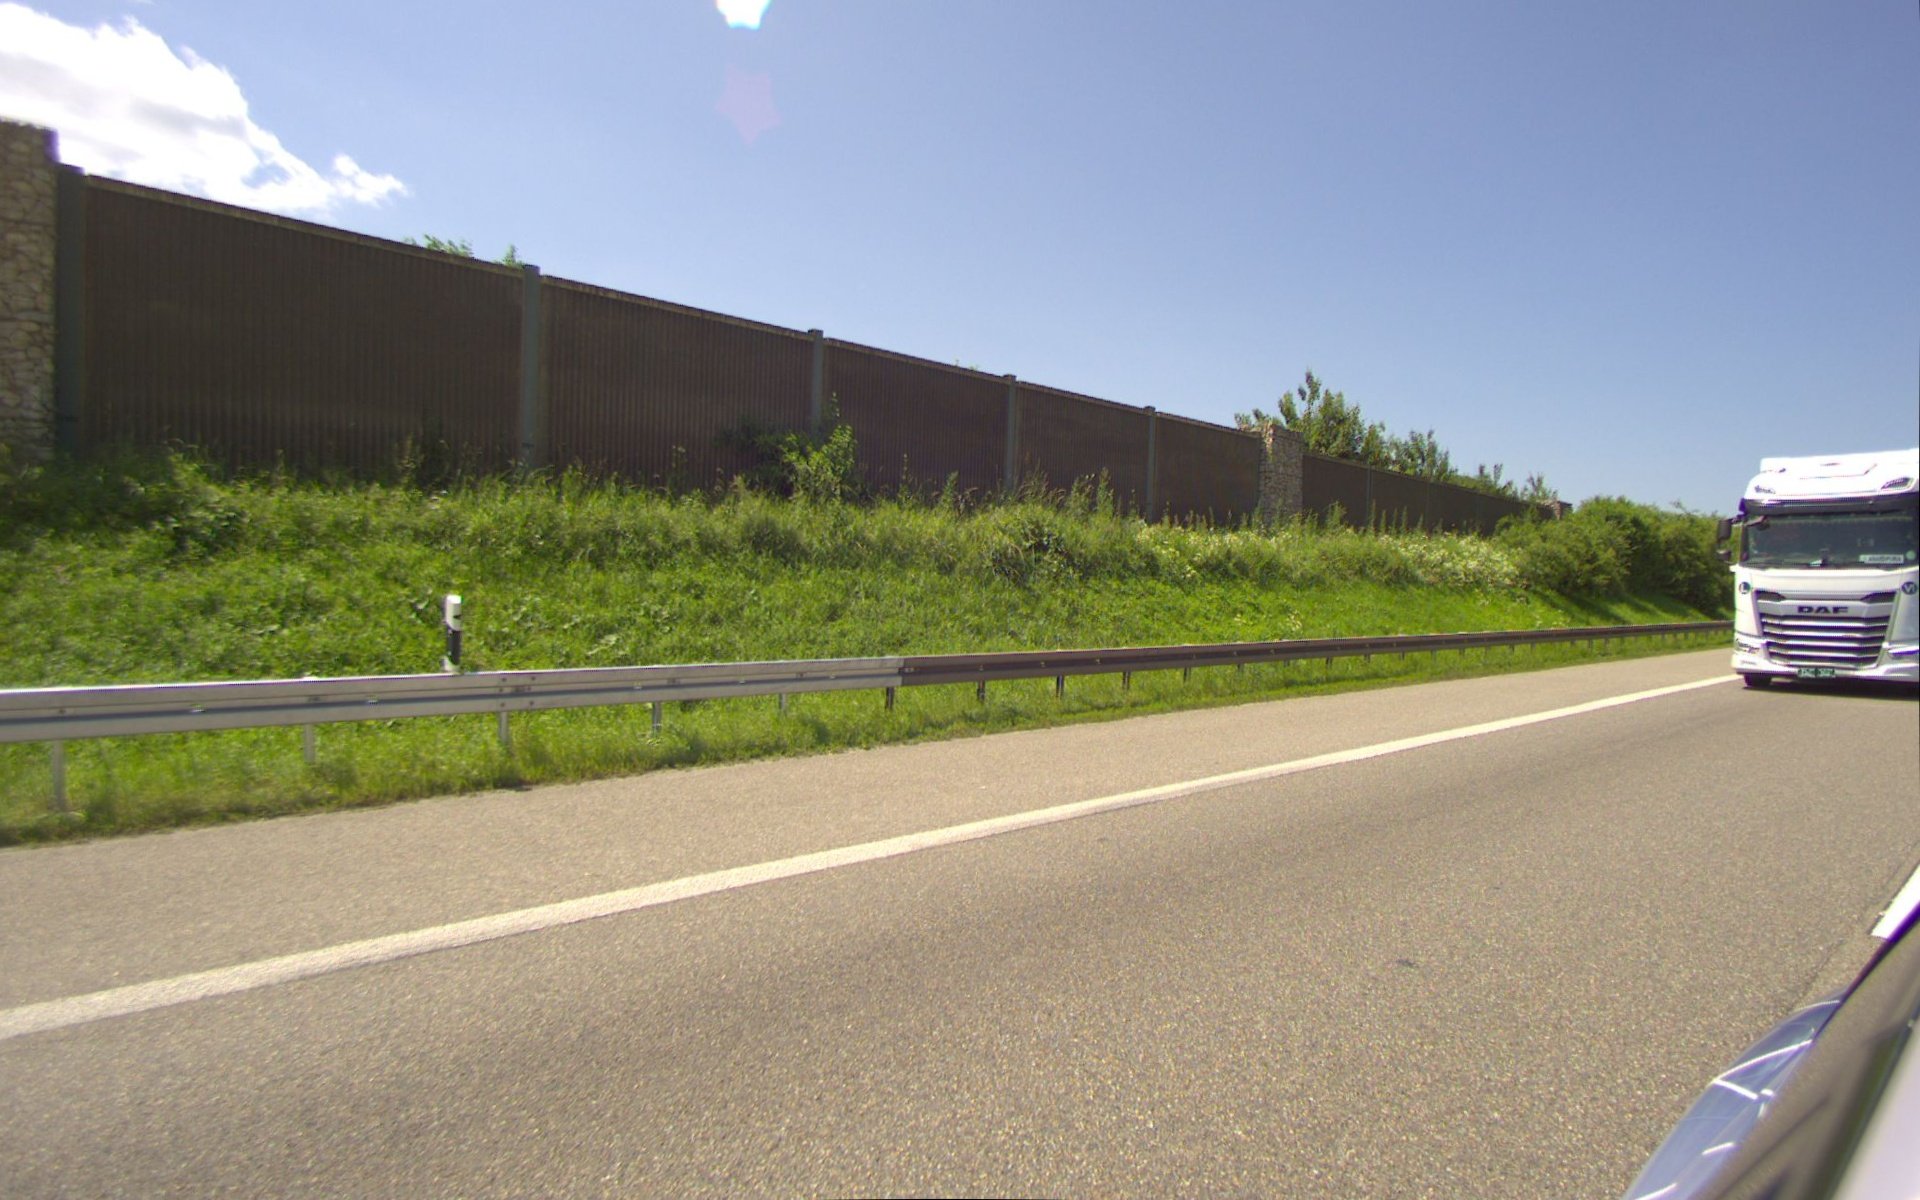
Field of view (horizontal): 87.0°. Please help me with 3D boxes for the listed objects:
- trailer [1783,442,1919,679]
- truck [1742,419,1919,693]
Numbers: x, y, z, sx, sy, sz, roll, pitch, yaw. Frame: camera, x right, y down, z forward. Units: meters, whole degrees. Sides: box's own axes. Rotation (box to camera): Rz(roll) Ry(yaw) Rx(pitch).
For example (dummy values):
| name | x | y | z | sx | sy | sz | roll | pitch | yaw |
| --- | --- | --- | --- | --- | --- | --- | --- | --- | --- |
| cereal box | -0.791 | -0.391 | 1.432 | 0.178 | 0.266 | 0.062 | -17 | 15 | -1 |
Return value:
| name | x | y | z | sx | sy | sz | roll | pitch | yaw |
| --- | --- | --- | --- | --- | --- | --- | --- | --- | --- |
| trailer | 20.888 | -0.713 | 22.205 | 13.423 | 4.027 | 2.481 | 0 | 1 | -43 |
| truck | 15.875 | -0.676 | 17.659 | 6.272 | 4.027 | 2.481 | 0 | 1 | -43 |
